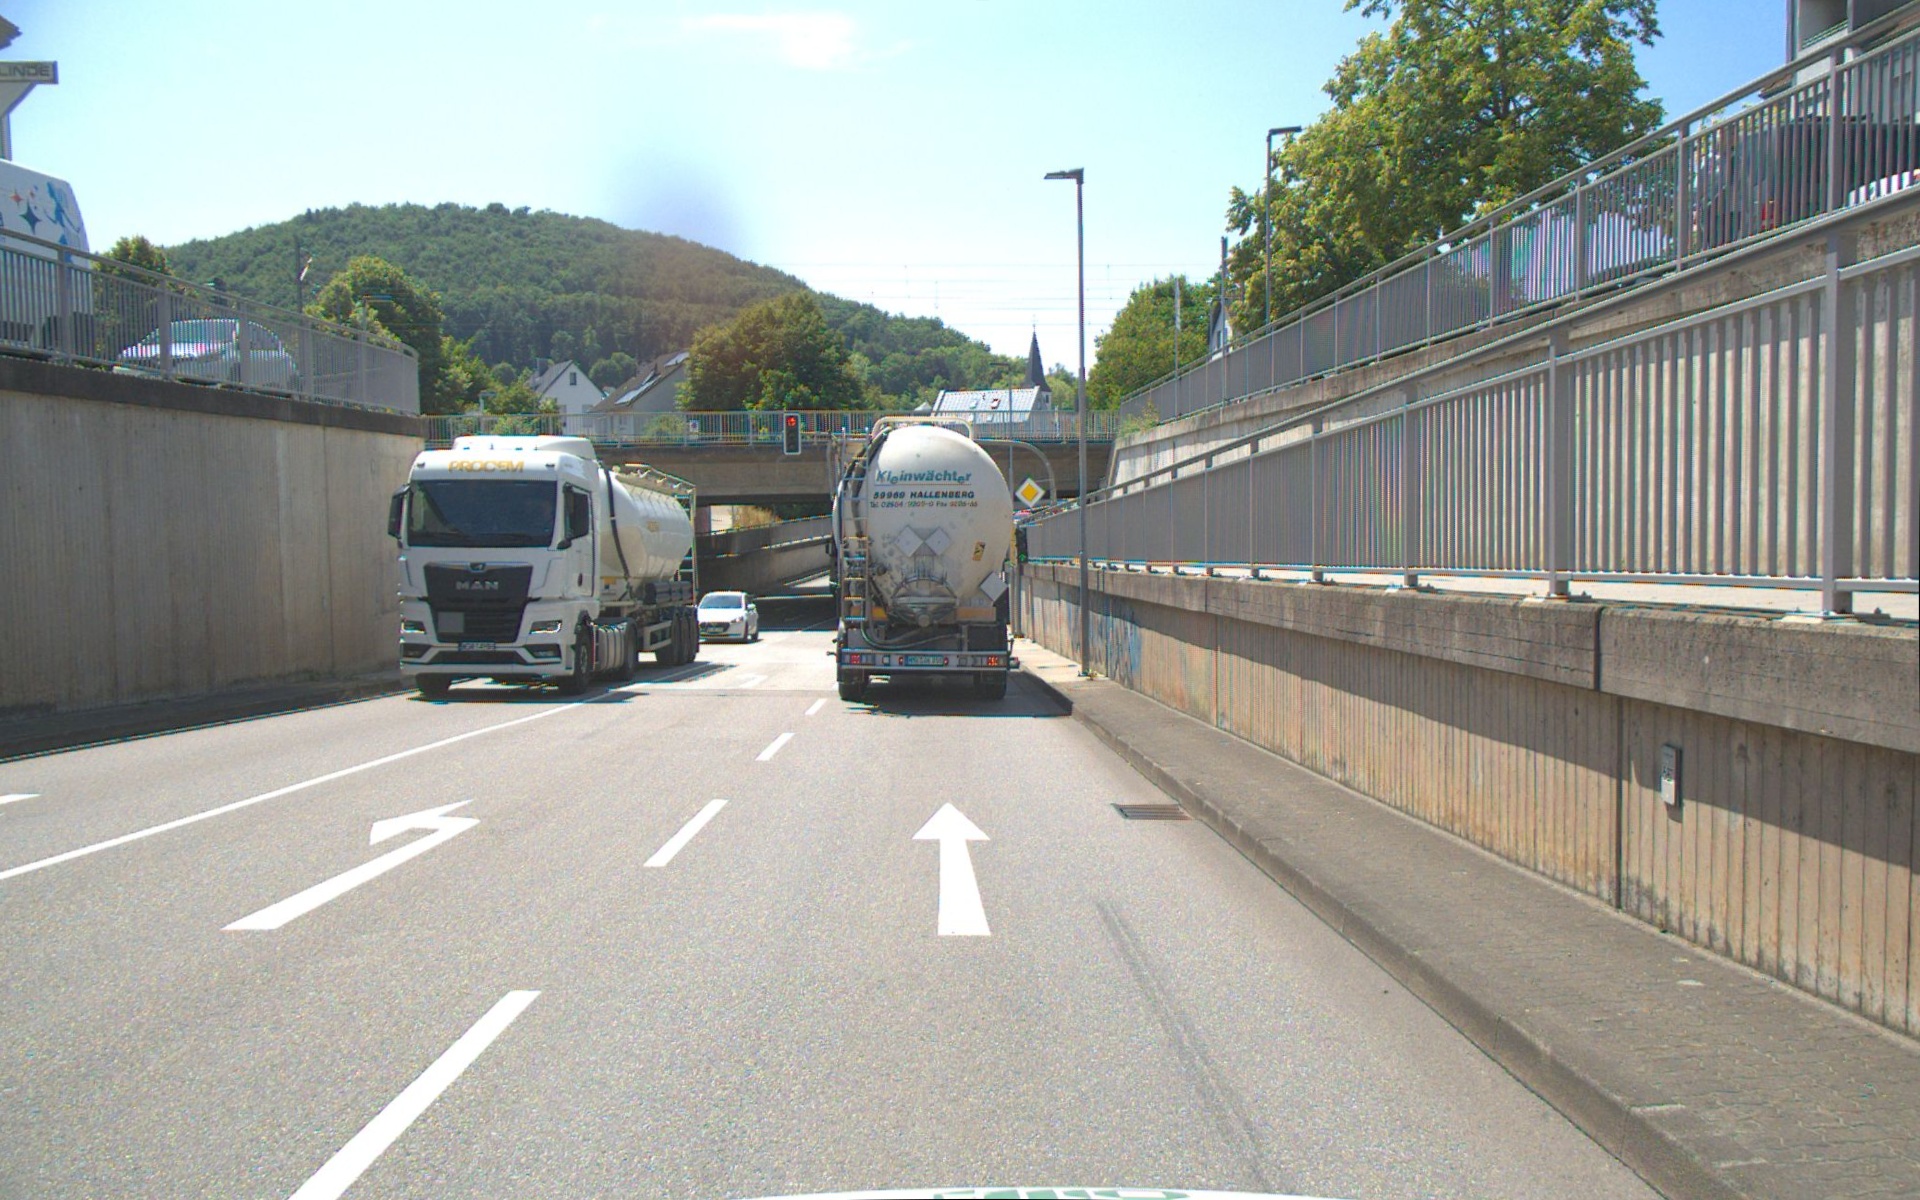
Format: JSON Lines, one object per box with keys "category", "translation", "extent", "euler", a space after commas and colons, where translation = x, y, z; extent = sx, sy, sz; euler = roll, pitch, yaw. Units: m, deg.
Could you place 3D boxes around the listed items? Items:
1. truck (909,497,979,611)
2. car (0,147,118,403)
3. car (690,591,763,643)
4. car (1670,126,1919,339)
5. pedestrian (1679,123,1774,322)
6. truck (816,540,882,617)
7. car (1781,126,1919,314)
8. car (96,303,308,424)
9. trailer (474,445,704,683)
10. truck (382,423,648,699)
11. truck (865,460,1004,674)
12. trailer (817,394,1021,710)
{"category": "truck", "translation": [-0.665, -2.151, 79.109], "extent": [3.017, 5.087, 10.085], "euler": [0, 1, 1]}
{"category": "car", "translation": [-11.301, -3.559, 17.412], "extent": [2.023, 2.580, 5.662], "euler": [1, 3, -1]}
{"category": "car", "translation": [-7.020, 0.485, 50.123], "extent": [1.648, 1.466, 4.093], "euler": [0, 1, -1]}
{"category": "car", "translation": [9.734, -3.821, 17.393], "extent": [3.826, 1.917, 1.686], "euler": [-1, 3, -1]}
{"category": "pedestrian", "translation": [7.462, -3.658, 16.123], "extent": [0.659, 1.810, 0.594], "euler": [-1, 3, 0]}
{"category": "truck", "translation": [-5.558, -1.087, 84.091], "extent": [2.634, 3.727, 7.370], "euler": [1, 0, 1]}
{"category": "car", "translation": [9.755, -3.417, 14.962], "extent": [3.826, 1.391, 1.686], "euler": [-1, 3, -1]}
{"category": "car", "translation": [-11.807, -3.649, 26.046], "extent": [1.586, 1.526, 4.044], "euler": [1, 3, -2]}
{"category": "trailer", "translation": [-7.033, -0.616, 32.792], "extent": [2.557, 4.033, 9.344], "euler": [0, 0, -1]}
{"category": "truck", "translation": [-6.958, -0.550, 26.860], "extent": [2.607, 3.928, 6.579], "euler": [0, 0, -1]}
{"category": "truck", "translation": [-0.477, -0.641, 35.228], "extent": [2.679, 4.135, 6.529], "euler": [0, 0, 0]}
{"category": "trailer", "translation": [-0.509, -0.629, 28.317], "extent": [2.679, 4.135, 13.312], "euler": [0, 0, 0]}
